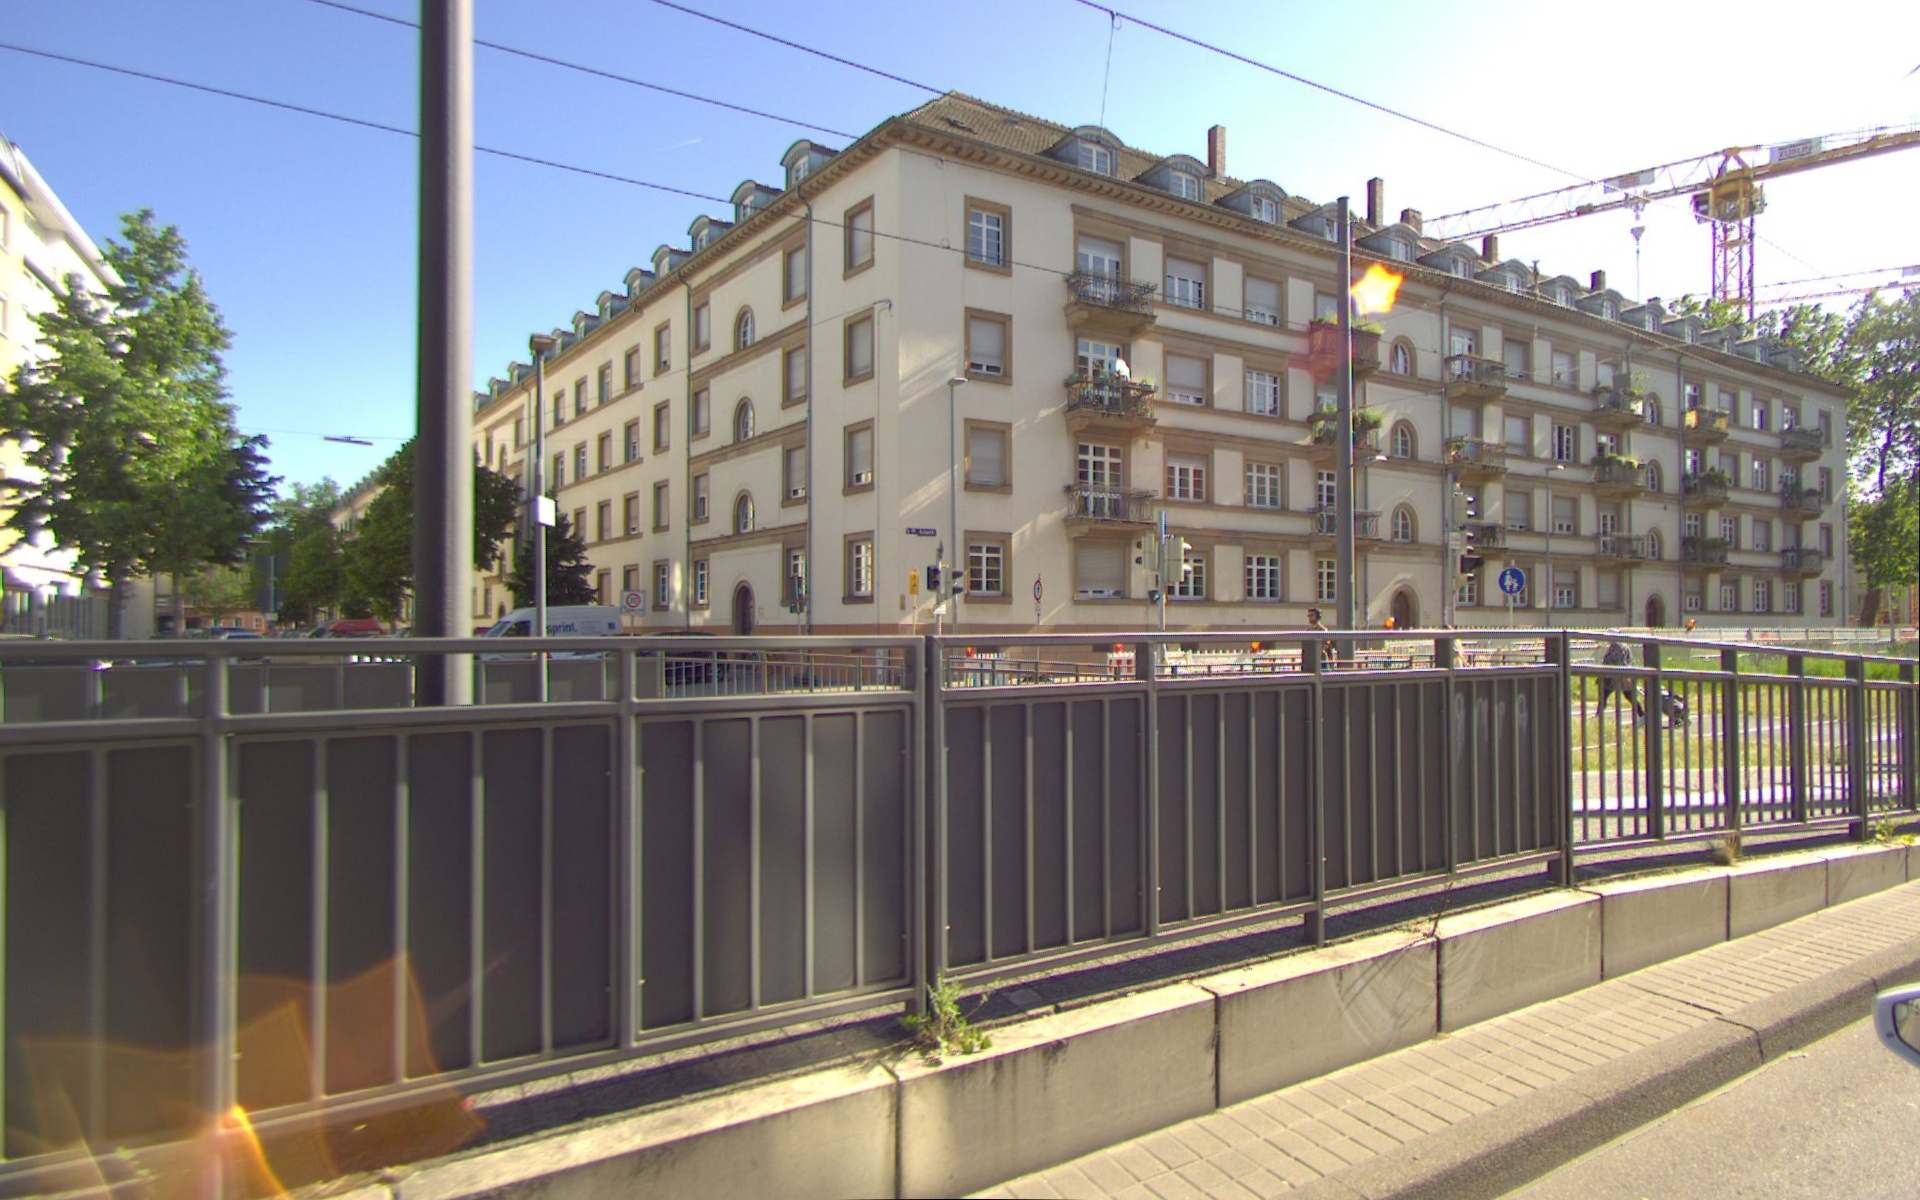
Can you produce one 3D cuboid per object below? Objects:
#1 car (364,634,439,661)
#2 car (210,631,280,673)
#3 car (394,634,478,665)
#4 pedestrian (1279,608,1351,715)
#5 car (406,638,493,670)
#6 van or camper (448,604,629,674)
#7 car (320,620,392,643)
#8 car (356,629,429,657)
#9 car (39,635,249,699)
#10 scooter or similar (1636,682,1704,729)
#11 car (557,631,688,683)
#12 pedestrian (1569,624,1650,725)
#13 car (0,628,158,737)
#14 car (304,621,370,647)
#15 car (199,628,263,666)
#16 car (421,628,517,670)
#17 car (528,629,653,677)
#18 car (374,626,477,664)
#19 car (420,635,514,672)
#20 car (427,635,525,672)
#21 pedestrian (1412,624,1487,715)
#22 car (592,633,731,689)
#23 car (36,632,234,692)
[{"bbox_3d":[-33.188,2.792,59.726,3.635,1.542,1.672,1,-2,-40],"label":"car"},{"bbox_3d":[-30.339,2.145,42.587,1.942,1.684,3.950,1,-2,-43],"label":"car"},{"bbox_3d":[-27.360,2.568,52.514,3.635,1.521,1.672,1,-2,-40],"label":"car"},{"bbox_3d":[6.144,1.041,17.441,0.852,1.804,0.908,1,0,-8],"label":"pedestrian"},{"bbox_3d":[-25.706,2.694,50.623,3.635,1.521,1.672,1,-2,-40],"label":"car"},{"bbox_3d":[-15.598,1.435,37.432,5.911,2.432,1.976,1,-2,-42],"label":"van or camper"},{"bbox_3d":[-46.731,2.429,77.756,4.533,1.754,2.023,1,-2,-39],"label":"car"},{"bbox_3d":[-34.481,2.589,61.090,3.635,1.658,1.672,1,-2,-40],"label":"car"},{"bbox_3d":[-20.535,1.627,25.379,3.973,1.470,1.762,1,-2,-44],"label":"car"},{"bbox_3d":[10.974,1.620,15.530,0.509,0.660,0.704,1,-1,-28],"label":"scooter or similar"},{"bbox_3d":[-10.717,1.773,32.011,3.643,1.542,1.672,1,-2,-40],"label":"car"},{"bbox_3d":[10.403,1.164,16.090,0.788,1.557,0.809,1,0,-29],"label":"pedestrian"},{"bbox_3d":[-16.335,1.369,17.087,3.955,1.782,1.806,1,-2,-32],"label":"car"},{"bbox_3d":[-52.483,2.881,84.645,4.533,2.127,2.023,1,-2,-39],"label":"car"},{"bbox_3d":[-33.362,2.105,45.931,1.942,1.684,3.950,1,-2,-43],"label":"car"},{"bbox_3d":[-23.795,2.339,48.702,3.911,1.953,1.672,1,-2,-40],"label":"car"},{"bbox_3d":[-12.438,1.750,33.909,3.635,1.542,1.672,1,-2,-40],"label":"car"},{"bbox_3d":[-29.934,2.481,56.326,4.832,2.034,1.920,1,-2,-39],"label":"car"},{"bbox_3d":[-22.875,2.451,46.648,3.635,1.617,1.672,1,-2,-40],"label":"car"},{"bbox_3d":[-21.412,2.350,44.490,3.635,1.542,1.672,1,-2,-40],"label":"car"},{"bbox_3d":[8.787,1.226,18.044,0.899,1.557,0.861,1,0,-30],"label":"pedestrian"},{"bbox_3d":[-8.900,1.779,30.051,3.643,1.542,1.672,1,-2,-40],"label":"car"},{"bbox_3d":[-22.047,1.606,26.927,3.973,1.470,1.762,1,-2,-44],"label":"car"}]
